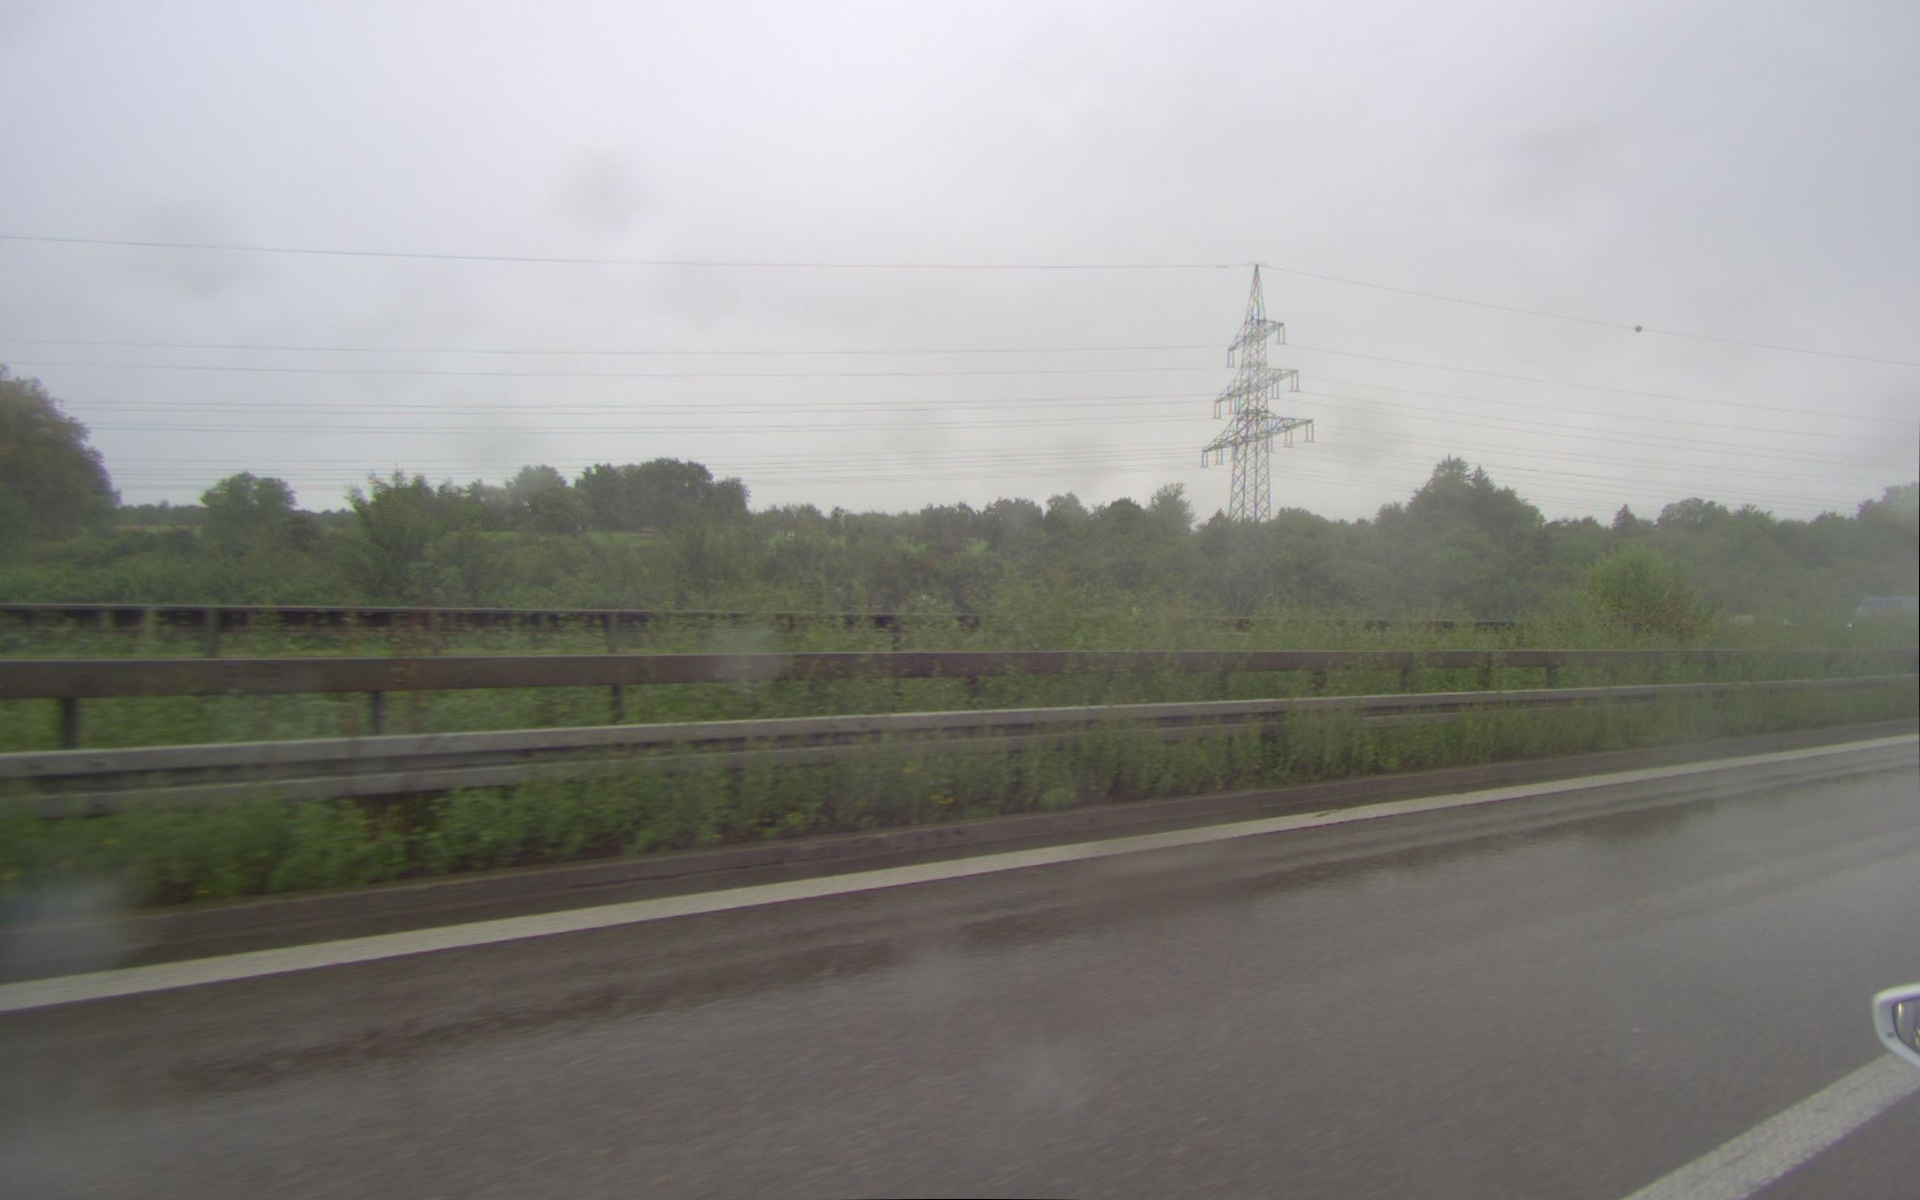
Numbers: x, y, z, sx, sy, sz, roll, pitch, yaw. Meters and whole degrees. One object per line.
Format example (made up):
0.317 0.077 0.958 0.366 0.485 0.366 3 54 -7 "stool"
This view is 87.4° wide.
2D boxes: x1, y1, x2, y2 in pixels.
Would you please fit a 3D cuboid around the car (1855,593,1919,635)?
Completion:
50.173 0.740 53.849 4.779 2.041 1.811 1 4 -31 "car"
